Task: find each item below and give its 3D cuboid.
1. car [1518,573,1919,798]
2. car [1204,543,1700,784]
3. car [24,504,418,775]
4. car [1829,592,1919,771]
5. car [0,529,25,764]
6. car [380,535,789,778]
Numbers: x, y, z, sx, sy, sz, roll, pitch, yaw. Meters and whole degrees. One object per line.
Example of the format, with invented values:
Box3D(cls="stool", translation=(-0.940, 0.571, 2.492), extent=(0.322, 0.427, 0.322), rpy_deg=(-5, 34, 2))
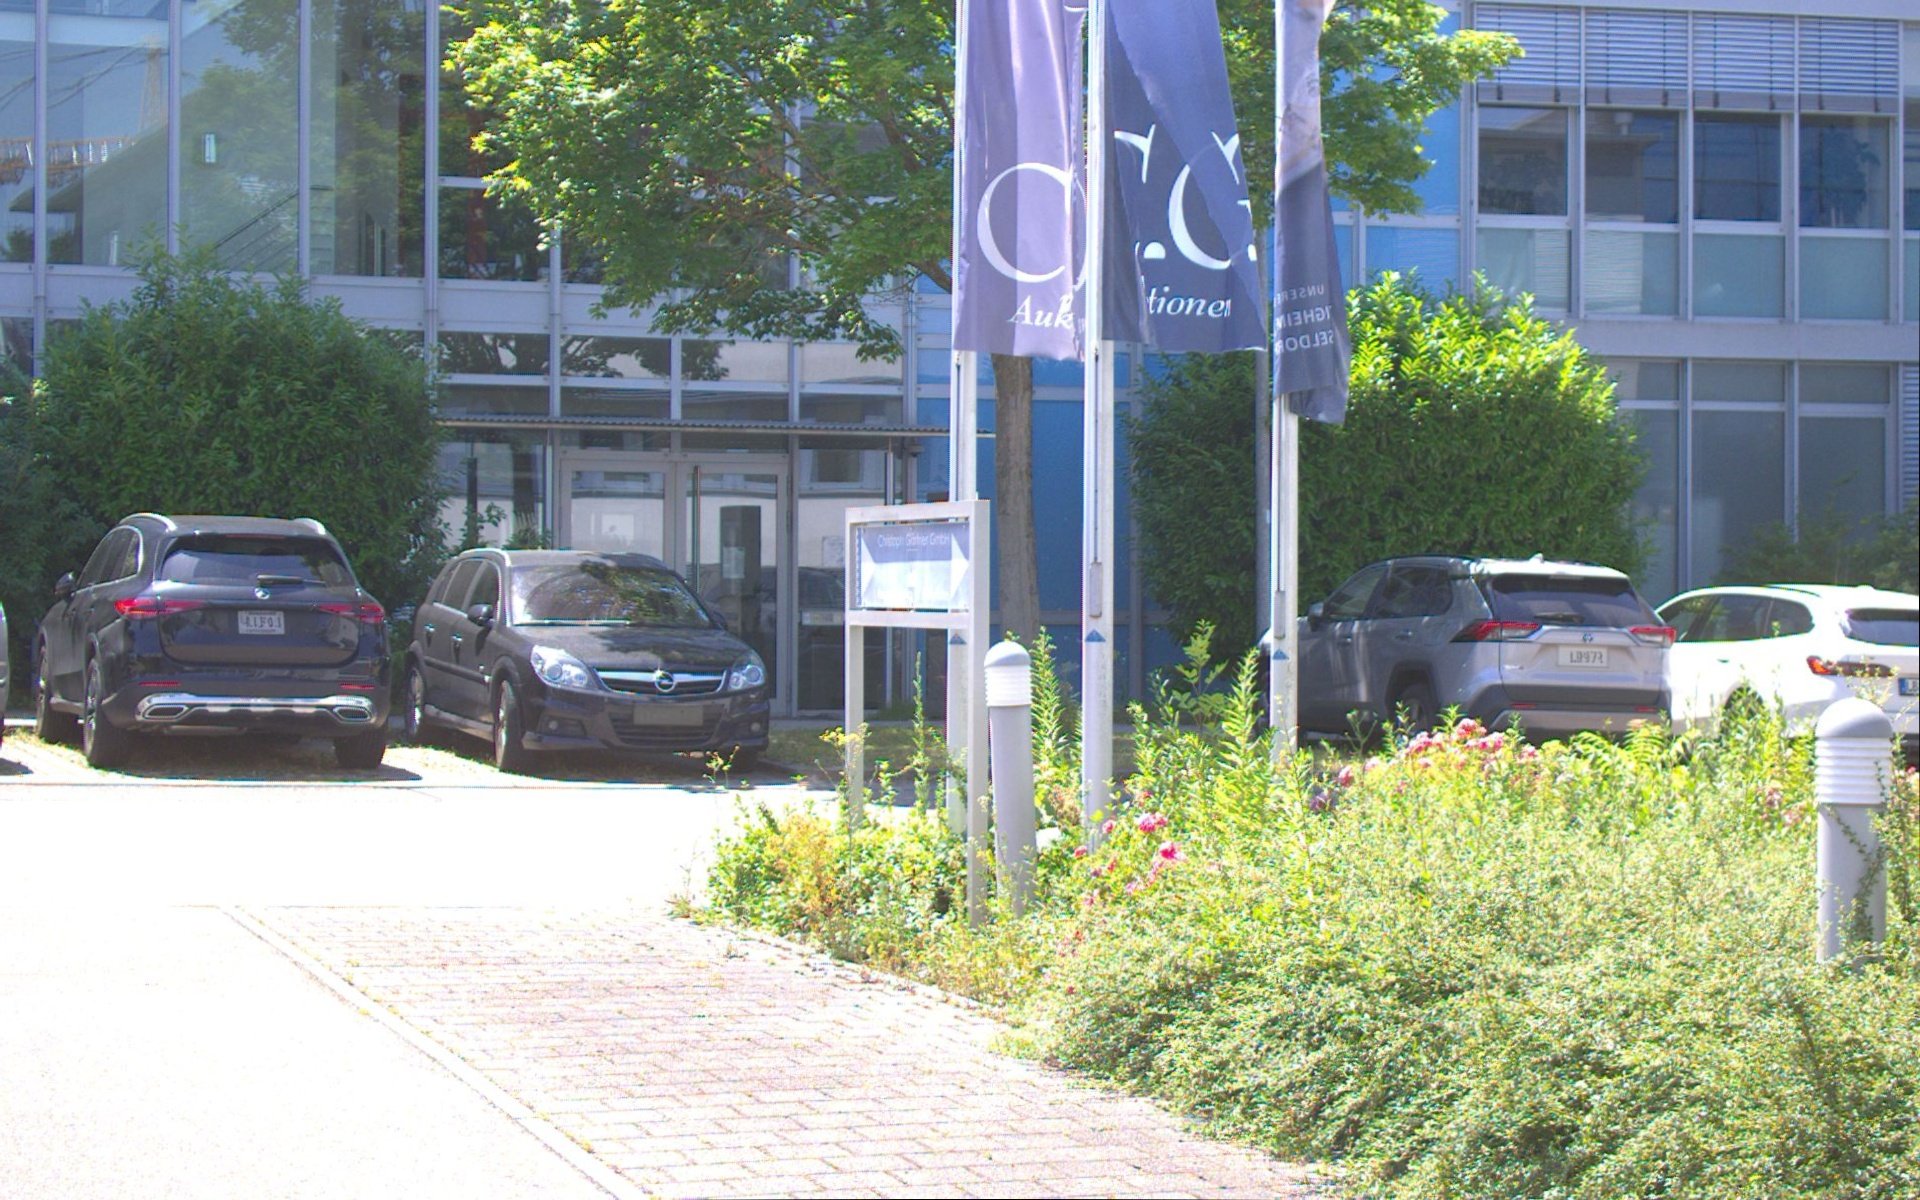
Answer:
Box3D(cls="car", translation=(6.271, 0.619, 26.882), extent=(1.735, 1.486, 4.341), rpy_deg=(2, 1, -21))
Box3D(cls="car", translation=(3.647, 0.423, 26.364), extent=(1.819, 1.614, 4.341), rpy_deg=(1, 2, -21))
Box3D(cls="car", translation=(-5.085, 0.206, 23.243), extent=(1.926, 1.605, 3.988), rpy_deg=(2, 1, -21))
Box3D(cls="car", translation=(8.811, 0.735, 27.655), extent=(1.735, 1.425, 4.341), rpy_deg=(2, 1, -12))
Box3D(cls="car", translation=(-7.409, 0.202, 22.564), extent=(1.765, 1.444, 3.655), rpy_deg=(2, 1, -26))
Box3D(cls="car", translation=(-2.736, 0.333, 24.113), extent=(1.769, 1.477, 4.260), rpy_deg=(1, 2, -21))
